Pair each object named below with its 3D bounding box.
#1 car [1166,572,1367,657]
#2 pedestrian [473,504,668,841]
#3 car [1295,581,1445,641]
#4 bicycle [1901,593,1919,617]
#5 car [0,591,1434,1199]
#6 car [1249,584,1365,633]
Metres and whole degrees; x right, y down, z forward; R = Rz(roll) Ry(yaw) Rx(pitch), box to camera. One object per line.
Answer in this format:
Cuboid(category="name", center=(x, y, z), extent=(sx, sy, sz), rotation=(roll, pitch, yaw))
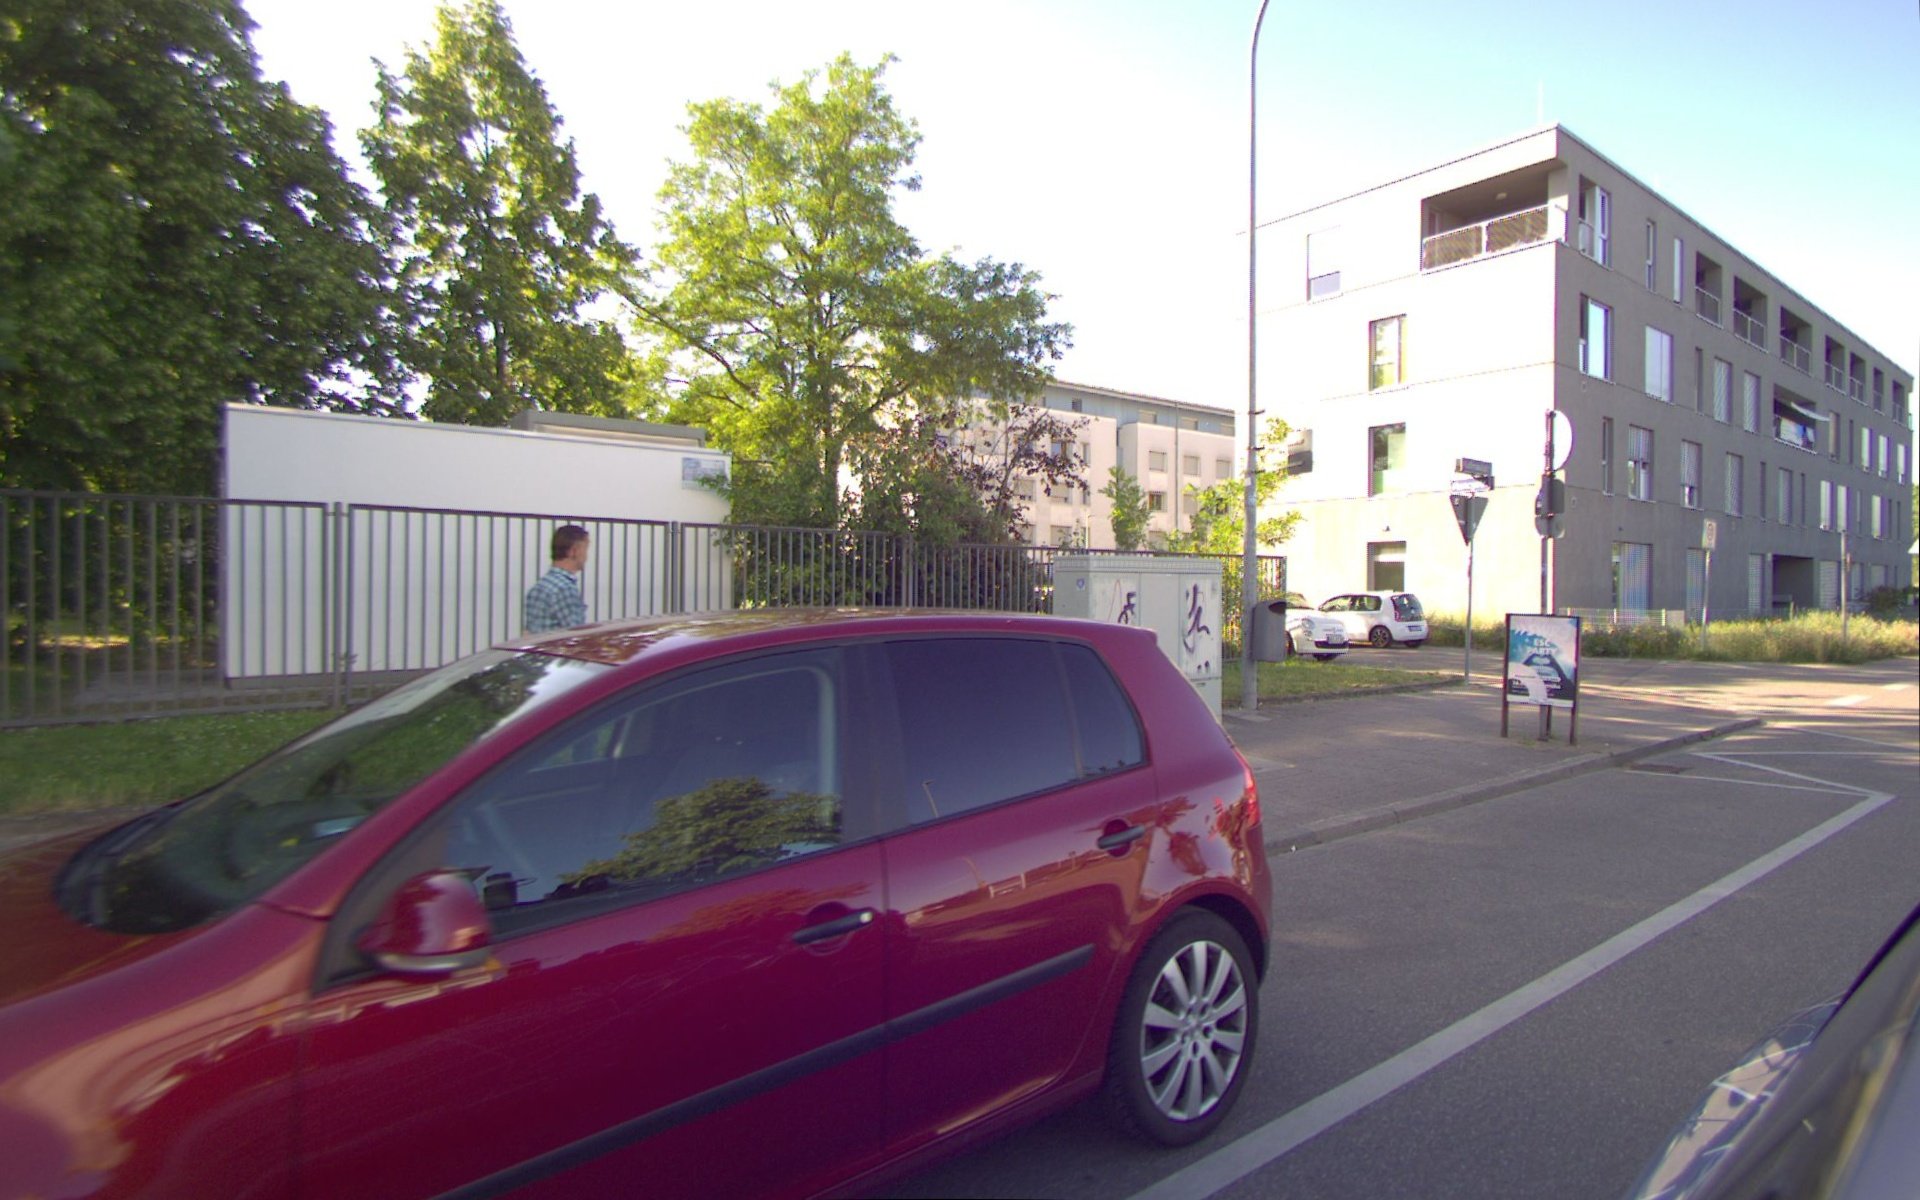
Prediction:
Cuboid(category="car", center=(5.907, 0.219, 19.833), extent=(1.570, 1.504, 3.557), rotation=(0, 1, -36))
Cuboid(category="pedestrian", center=(-2.272, 0.367, 5.883), extent=(0.868, 1.779, 0.720), rotation=(0, 2, -37))
Cuboid(category="car", center=(10.785, 0.233, 26.822), extent=(1.681, 1.476, 3.340), rotation=(0, 1, -32))
Cuboid(category="bicycle", center=(43.409, 0.221, 45.980), extent=(1.806, 1.074, 0.554), rotation=(0, 0, -34))
Cuboid(category="car", center=(-0.668, 0.722, 2.774), extent=(4.568, 1.473, 1.724), rotation=(0, 0, -39))
Cuboid(category="car", center=(11.380, 0.246, 33.140), extent=(3.926, 1.488, 1.698), rotation=(0, 2, -38))
